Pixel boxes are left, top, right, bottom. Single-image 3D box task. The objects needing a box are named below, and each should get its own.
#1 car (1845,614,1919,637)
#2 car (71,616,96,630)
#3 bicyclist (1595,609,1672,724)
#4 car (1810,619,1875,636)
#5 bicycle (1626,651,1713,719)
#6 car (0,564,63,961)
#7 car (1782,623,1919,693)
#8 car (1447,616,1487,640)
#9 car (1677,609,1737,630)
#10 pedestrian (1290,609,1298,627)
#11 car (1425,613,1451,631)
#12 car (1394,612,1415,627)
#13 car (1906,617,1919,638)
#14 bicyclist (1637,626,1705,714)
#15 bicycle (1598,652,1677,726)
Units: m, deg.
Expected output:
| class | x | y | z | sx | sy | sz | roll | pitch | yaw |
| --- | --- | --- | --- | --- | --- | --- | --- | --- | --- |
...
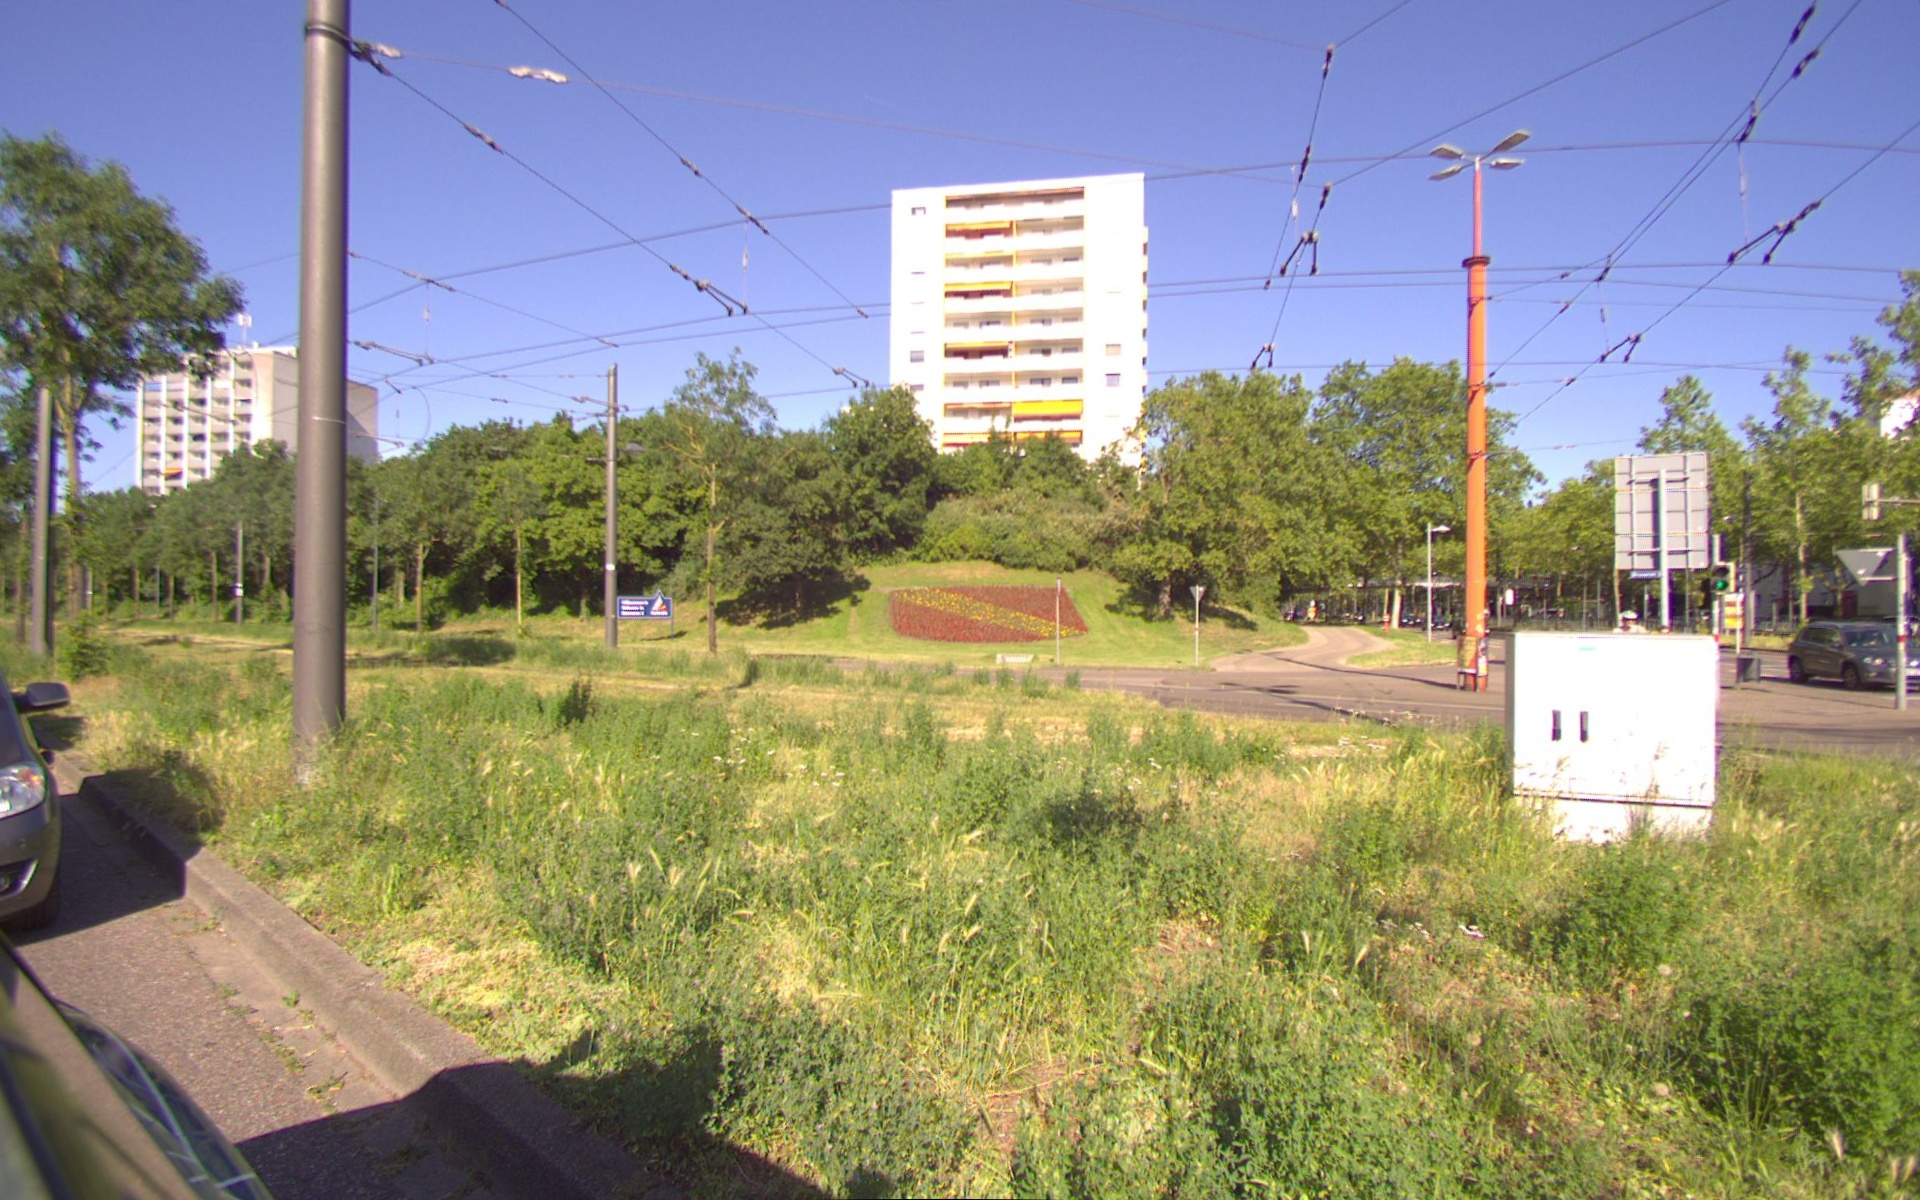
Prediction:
| class | x | y | z | sx | sy | sz | roll | pitch | yaw |
| --- | --- | --- | --- | --- | --- | --- | --- | --- | --- |
| car | 63.805 | 1.755 | 70.011 | 1.589 | 1.471 | 3.656 | -1 | 0 | -38 |
| car | -91.418 | 2.369 | 105.527 | 3.908 | 1.431 | 1.557 | -1 | -1 | 42 |
| bicyclist | 11.466 | 1.095 | 17.257 | 0.886 | 1.881 | 0.918 | 0 | 0 | 20 |
| car | 64.414 | 1.987 | 73.862 | 1.425 | 1.197 | 3.423 | -1 | 0 | -41 |
| bicycle | 13.046 | 1.541 | 18.668 | 0.573 | 1.079 | 1.909 | 0 | 0 | 11 |
| car | -5.932 | 0.704 | 5.030 | 3.998 | 1.652 | 1.726 | -1 | 0 | 41 |
| car | 22.941 | 1.398 | 25.507 | 1.900 | 1.507 | 4.026 | 0 | 0 | 15 |
| car | 33.470 | 1.827 | 66.836 | 1.904 | 1.507 | 3.973 | 0 | -1 | 20 |
| car | 72.194 | 1.868 | 97.873 | 1.909 | 1.999 | 4.350 | 1 | -1 | -38 |
| pedestrian | 29.240 | 1.593 | 88.579 | 0.681 | 1.568 | 0.984 | 0 | -2 | 20 |
| car | 43.890 | 2.005 | 92.999 | 1.906 | 1.507 | 3.970 | 0 | 0 | 23 |
| car | 49.156 | 2.121 | 111.961 | 1.833 | 1.507 | 3.973 | 0 | 0 | 20 |
| car | 63.681 | 1.810 | 65.179 | 1.472 | 1.341 | 3.746 | -1 | 0 | -27 |
| bicyclist | 13.046 | 1.257 | 18.589 | 0.713 | 1.536 | 0.920 | 0 | 0 | 13 |
| bicycle | 11.478 | 1.479 | 17.204 | 0.575 | 1.079 | 1.905 | 0 | 0 | 17 |
